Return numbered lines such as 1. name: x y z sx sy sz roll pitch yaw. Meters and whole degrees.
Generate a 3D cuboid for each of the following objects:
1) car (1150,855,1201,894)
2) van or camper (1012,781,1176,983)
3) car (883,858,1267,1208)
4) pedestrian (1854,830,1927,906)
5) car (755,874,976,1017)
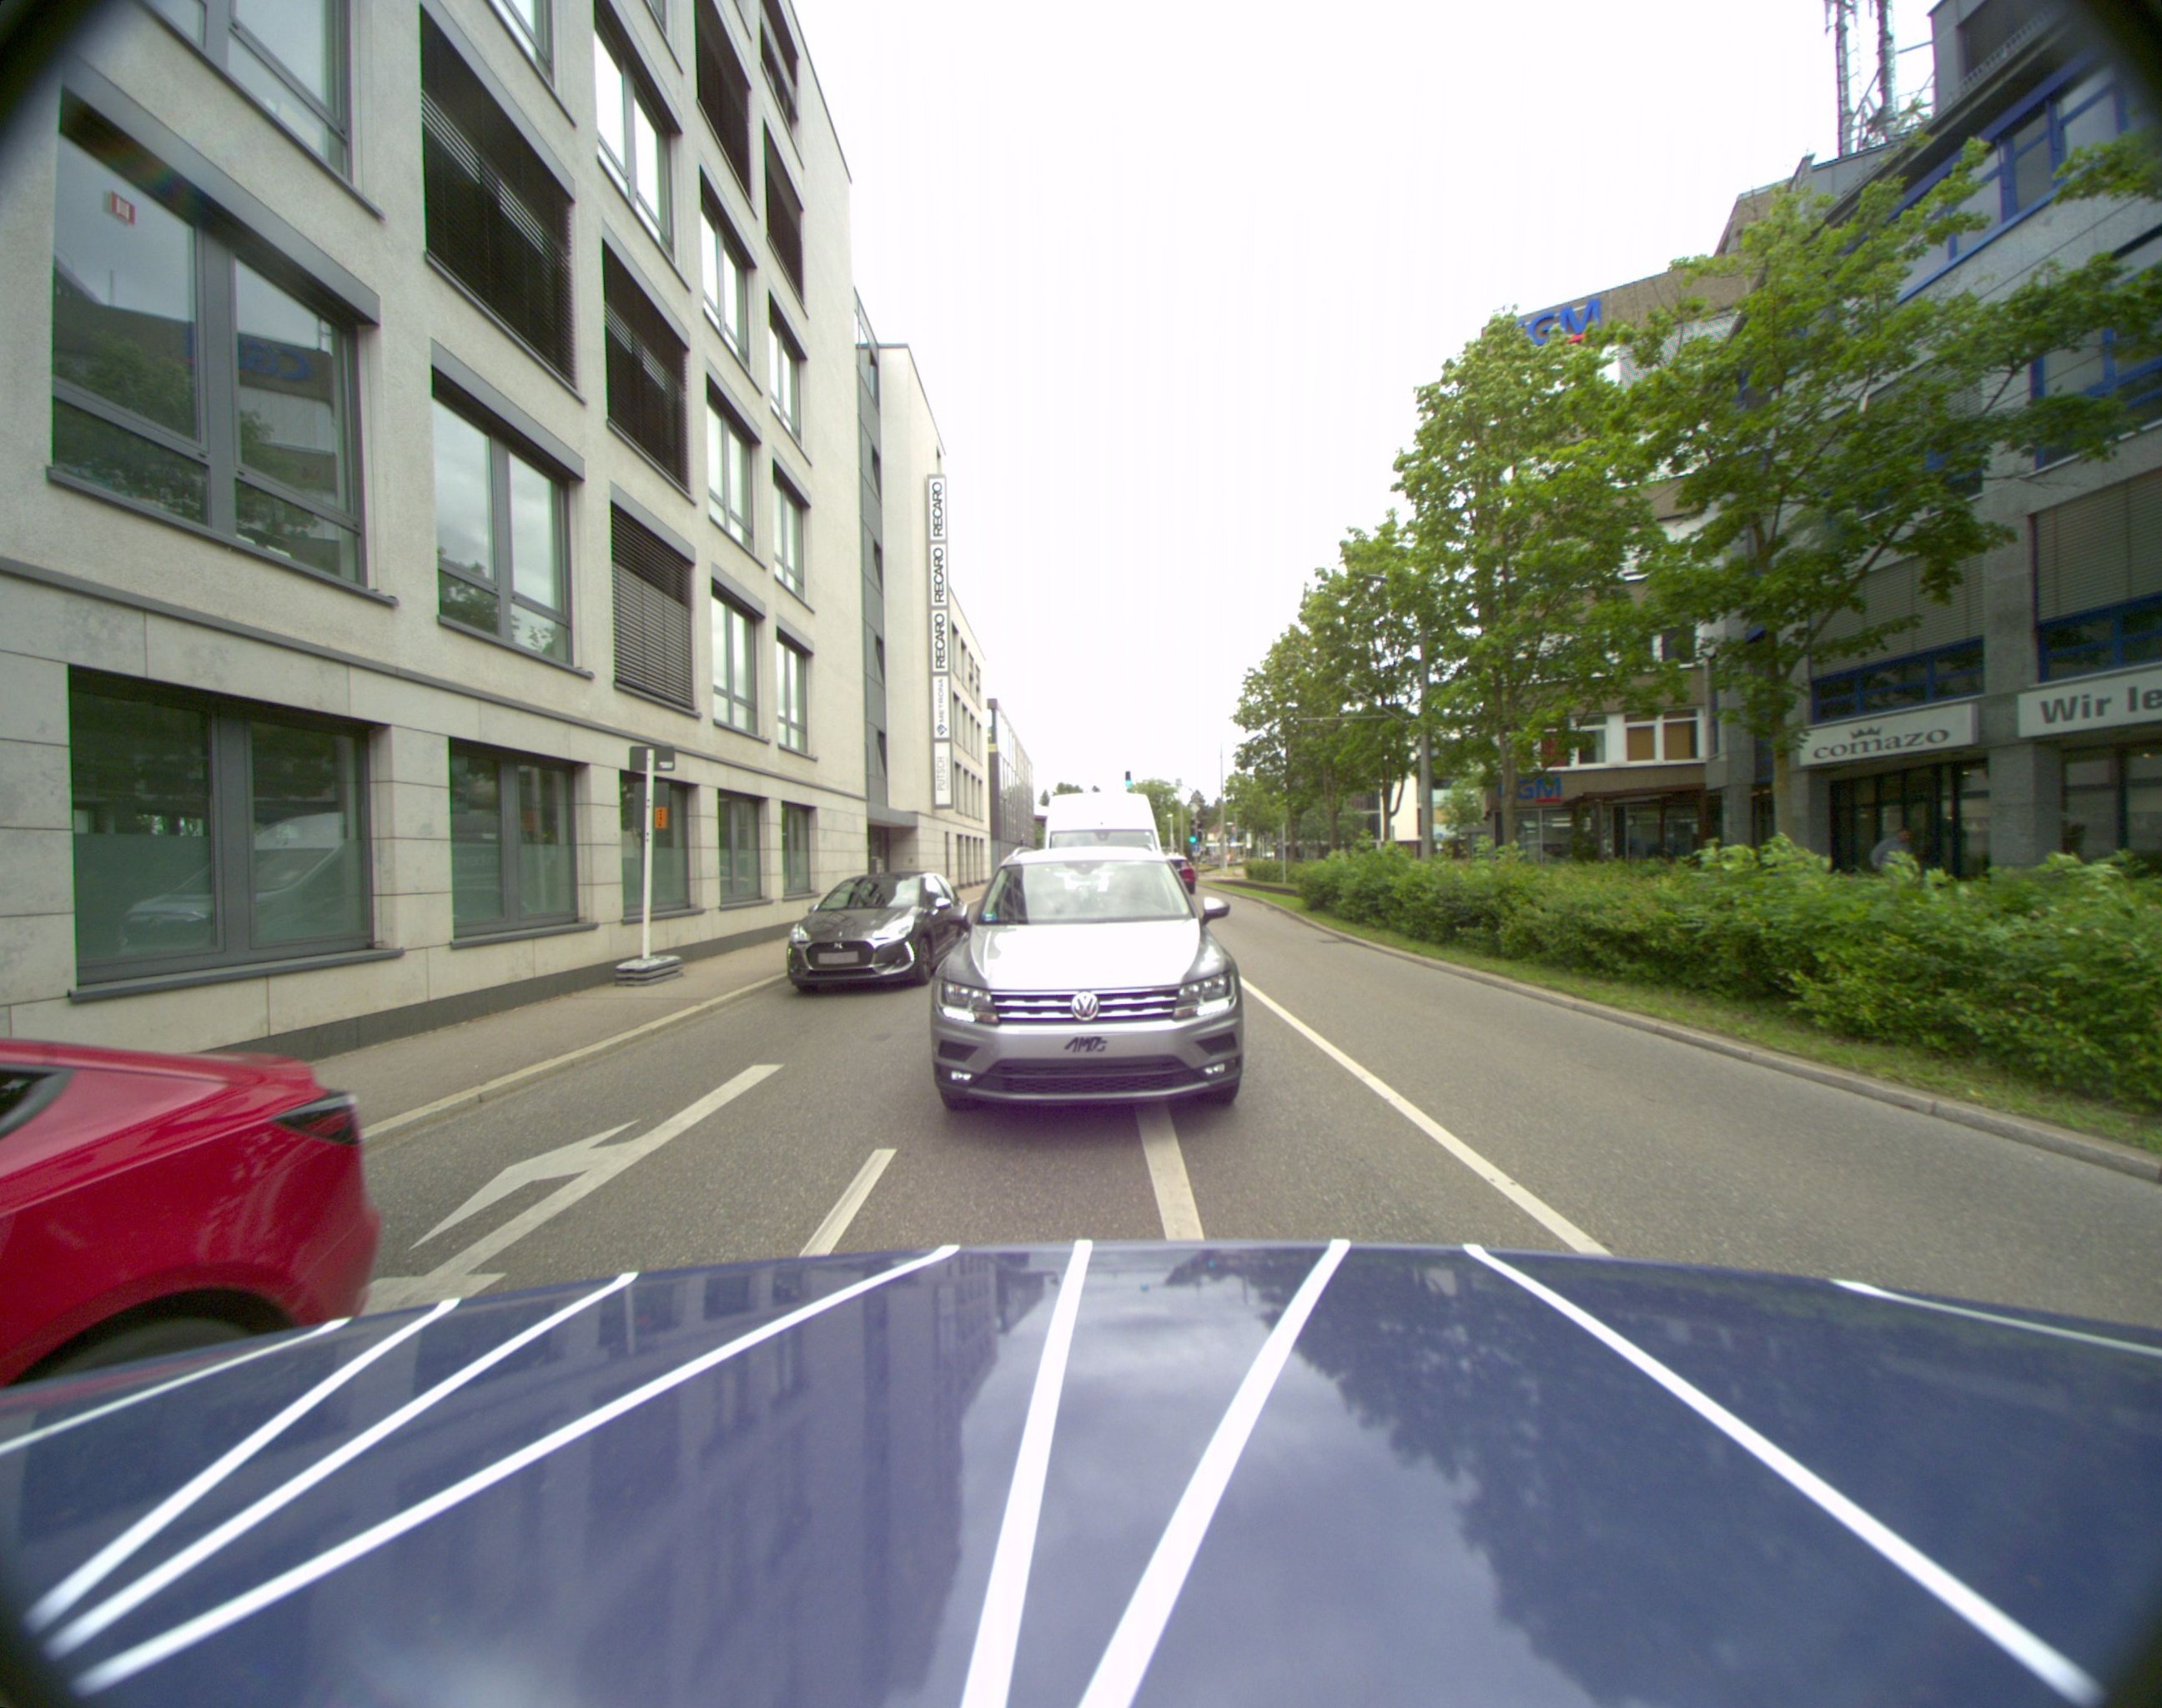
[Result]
1. car: 4.038 0.840 32.983 1.754 1.579 4.135 0 0 1
2. van or camper: 0.300 0.388 13.588 2.110 2.674 6.300 -3 0 2
3. car: -0.002 0.911 5.959 1.833 1.636 4.326 -3 0 1
4. pedestrian: 16.396 0.271 15.403 0.699 1.474 0.679 -3 0 1
5. car: -2.753 1.104 10.732 1.705 1.452 4.063 -3 0 3
